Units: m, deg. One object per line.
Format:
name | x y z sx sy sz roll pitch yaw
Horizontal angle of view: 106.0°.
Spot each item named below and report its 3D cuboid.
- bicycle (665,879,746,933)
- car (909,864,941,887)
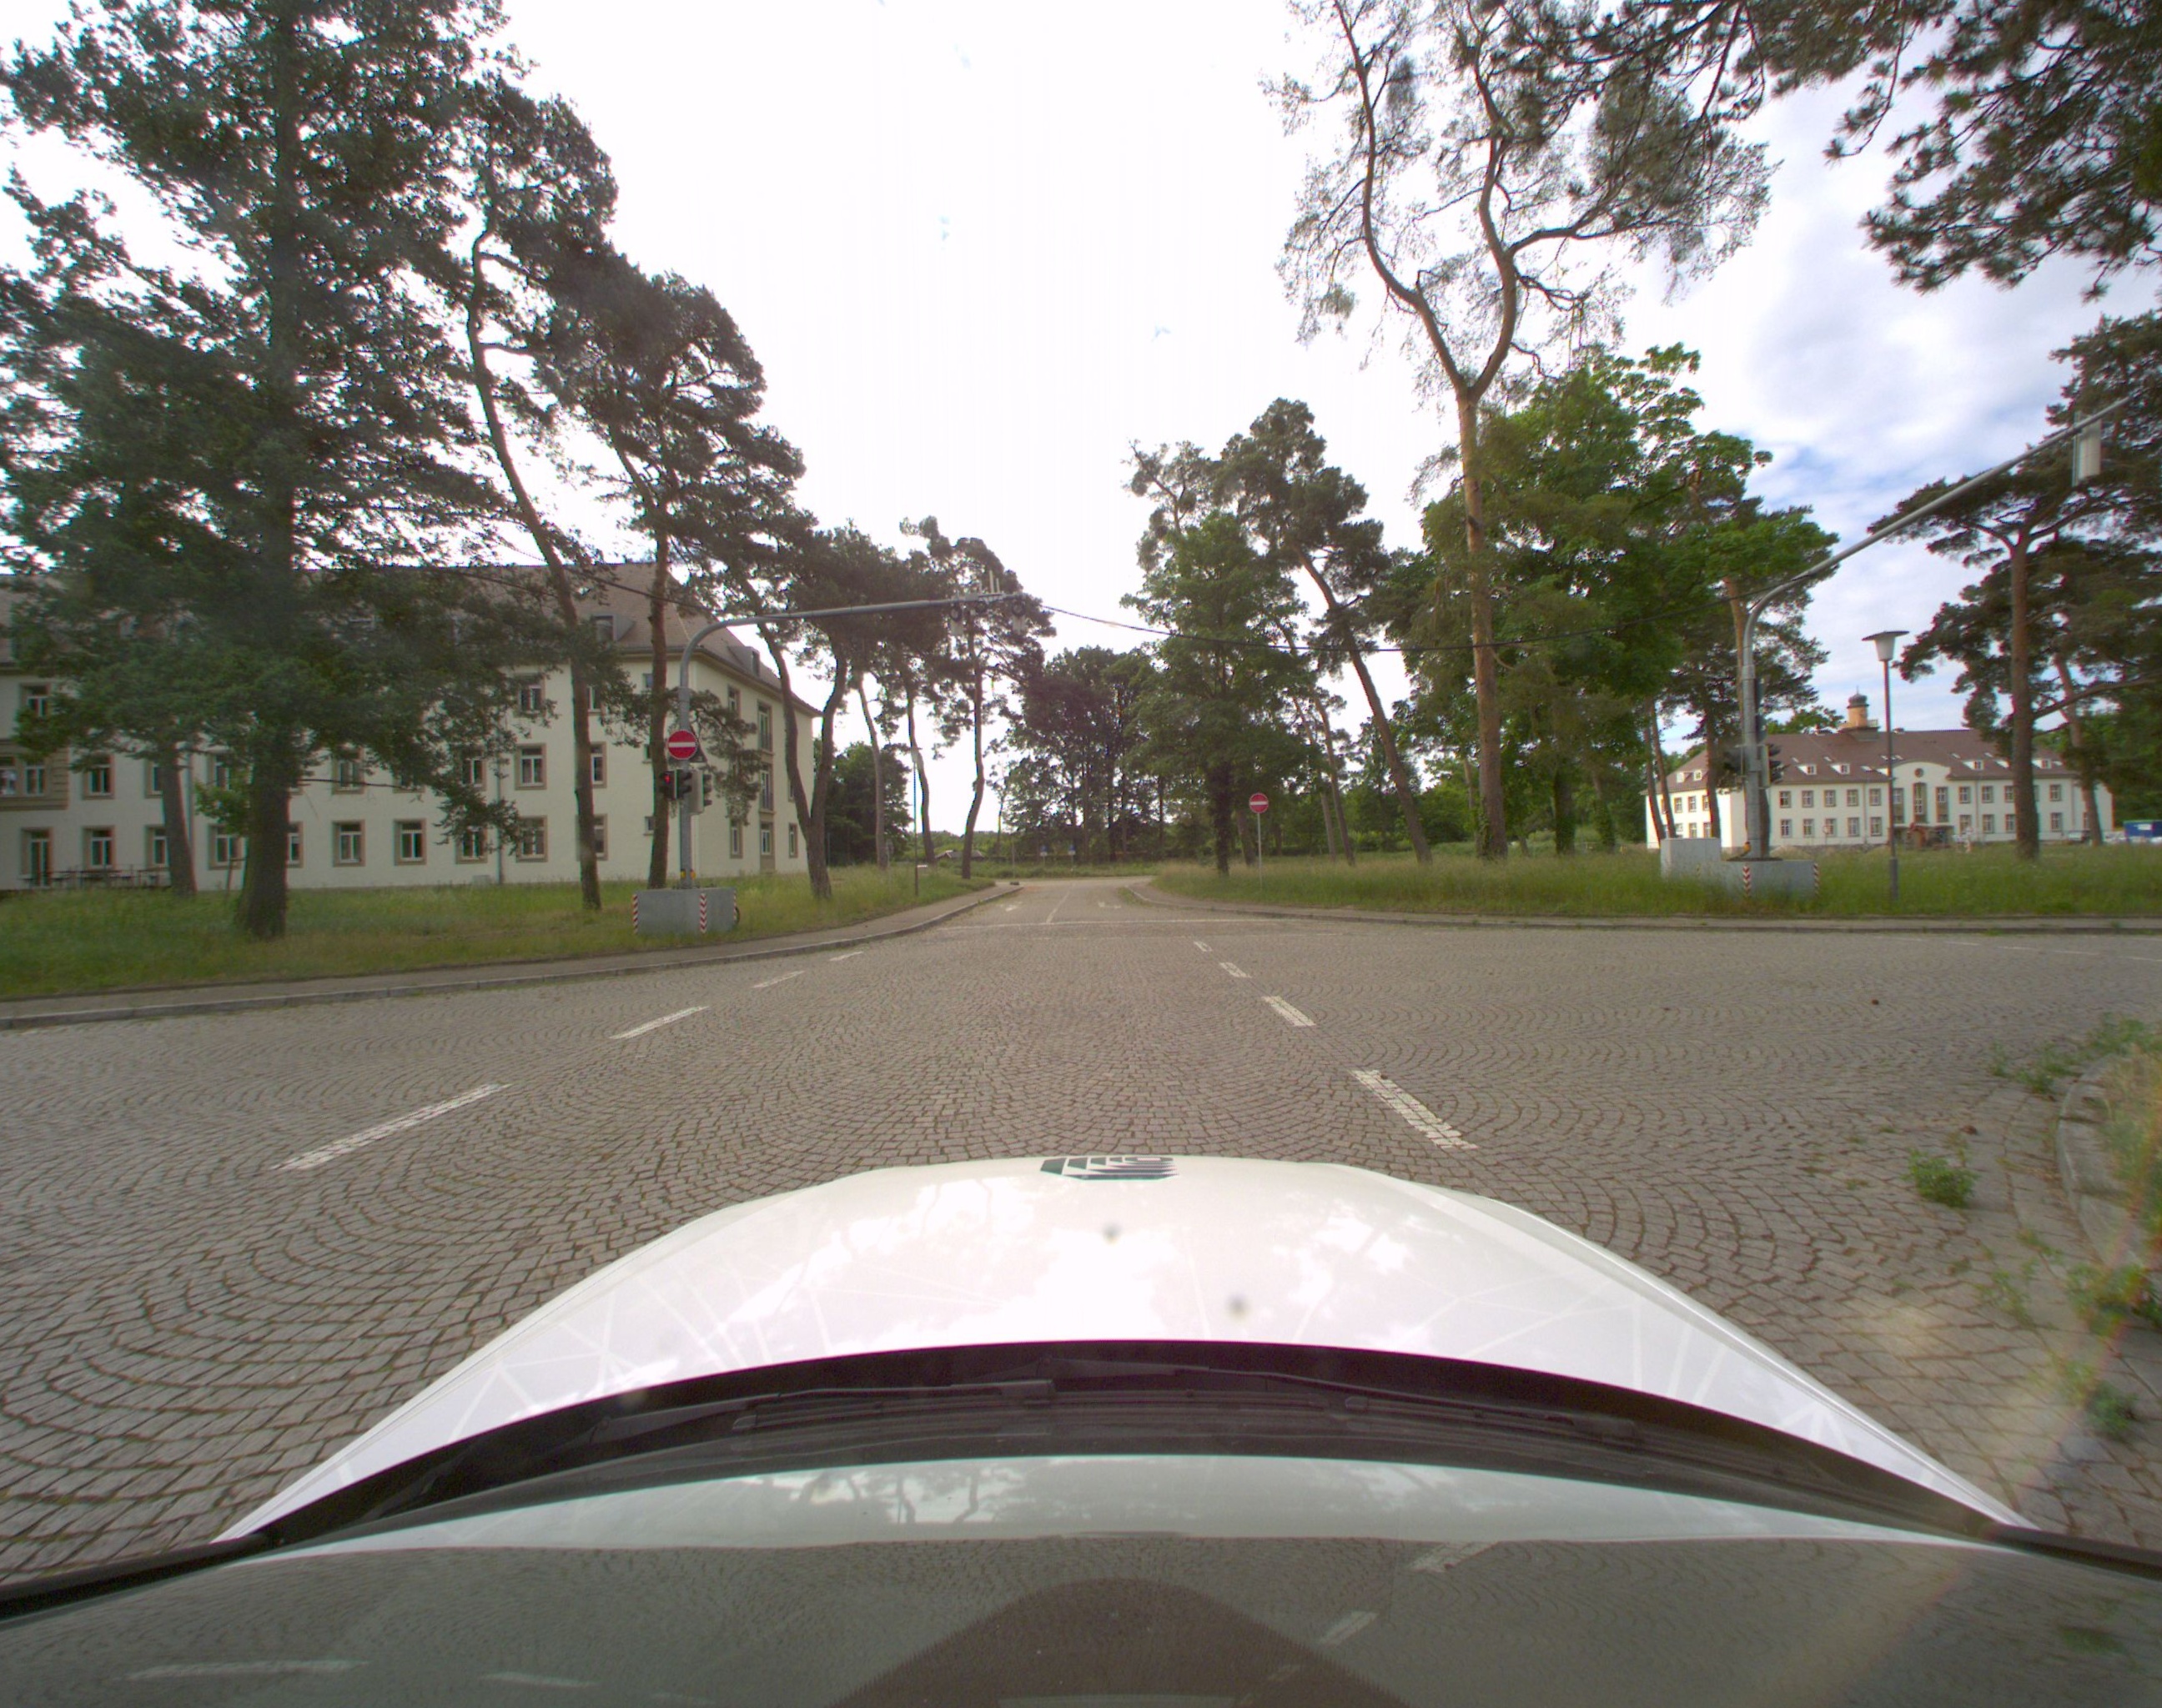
bicycle | -8.123 1.119 17.646 1.460 1.065 0.516 -2 1 -2
car | -12.916 1.746 67.719 1.988 1.846 3.997 0 -1 -2
